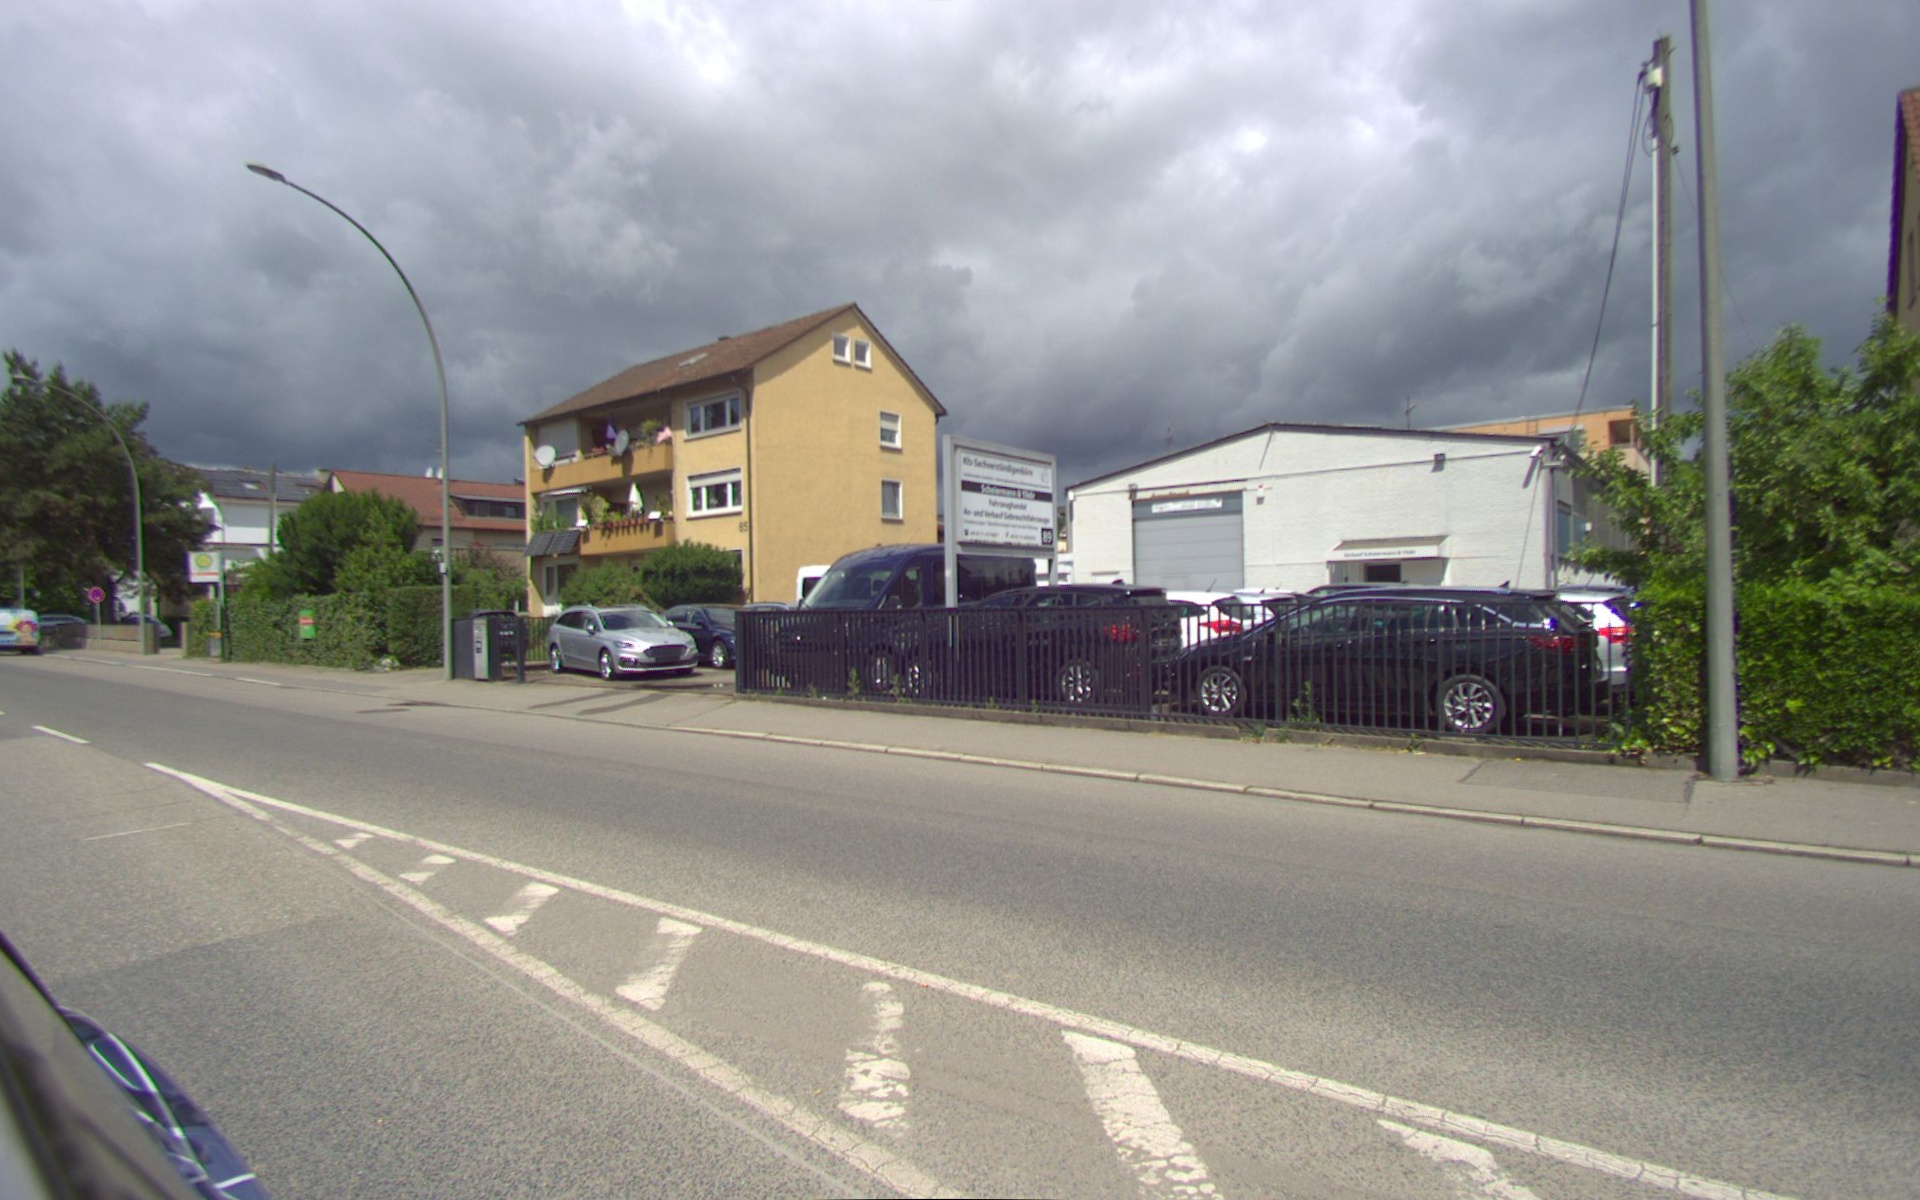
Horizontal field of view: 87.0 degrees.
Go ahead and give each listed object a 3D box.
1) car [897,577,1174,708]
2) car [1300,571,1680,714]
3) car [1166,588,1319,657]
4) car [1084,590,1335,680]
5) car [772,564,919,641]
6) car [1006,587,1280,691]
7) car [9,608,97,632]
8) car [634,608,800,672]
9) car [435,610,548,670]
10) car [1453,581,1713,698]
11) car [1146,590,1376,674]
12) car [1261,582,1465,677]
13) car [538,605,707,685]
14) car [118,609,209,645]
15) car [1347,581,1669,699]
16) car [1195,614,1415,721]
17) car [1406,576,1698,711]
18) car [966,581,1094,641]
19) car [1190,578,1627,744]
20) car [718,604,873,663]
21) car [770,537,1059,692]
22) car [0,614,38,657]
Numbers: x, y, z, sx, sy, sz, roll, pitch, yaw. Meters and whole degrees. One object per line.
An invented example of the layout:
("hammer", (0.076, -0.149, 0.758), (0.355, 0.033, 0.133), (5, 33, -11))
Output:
("car", (1.016, 0.544, 14.523), (3.619, 1.633, 1.790), (-1, 0, 41))
("car", (6.738, 0.477, 13.064), (3.998, 1.552, 1.973), (-1, 0, 41))
("car", (8.452, 0.650, 30.428), (3.998, 1.941, 1.973), (-1, 0, 41))
("car", (4.347, 0.571, 17.994), (3.998, 1.423, 1.716), (-1, 0, 41))
("car", (-3.299, 0.067, 28.727), (3.998, 2.029, 1.973), (-1, 0, 41))
("car", (2.864, 0.567, 16.320), (3.998, 1.470, 1.795), (-1, 0, 41))
("car", (-68.431, 1.503, 76.429), (2.216, 1.691, 4.676), (-1, 0, 39))
("car", (-5.792, 0.881, 23.898), (3.998, 1.352, 1.861), (-1, 0, 41))
("car", (-14.082, 1.146, 30.384), (3.520, 1.678, 1.807), (-1, 0, 41))
("car", (11.961, 0.694, 19.542), (3.998, 2.029, 1.973), (-1, 0, 41))
("car", (5.872, 0.577, 19.988), (3.998, 1.498, 1.742), (-1, 0, 41))
("car", (9.381, 0.633, 23.703), (3.998, 2.029, 1.973), (-1, 0, 41))
("car", (-7.282, 0.884, 21.577), (1.861, 1.470, 4.356), (-2, 1, -41))
("car", (-46.365, 1.555, 58.949), (3.954, 2.029, 1.995), (-1, 0, 9))
("car", (8.279, 0.536, 15.449), (3.998, 1.560, 1.973), (-1, 0, 41))
("car", (7.291, 1.325, 21.565), (3.998, 2.029, 1.973), (-1, 0, 41))
("car", (10.005, 0.661, 17.240), (3.998, 2.029, 1.973), (-1, 0, 41))
("car", (2.367, 0.373, 34.630), (3.998, 1.941, 1.973), (-1, 0, 41))
("car", (4.802, 0.562, 11.129), (4.040, 1.494, 1.840), (-1, 0, 40))
("car", (-4.324, 0.820, 26.295), (3.998, 1.383, 1.859), (-1, 0, 41))
("car", (-0.650, 0.209, 18.357), (2.104, 2.402, 5.293), (-1, 0, 42))
("car", (-39.302, 1.421, 41.430), (3.995, 1.693, 1.708), (-1, 0, 39))
